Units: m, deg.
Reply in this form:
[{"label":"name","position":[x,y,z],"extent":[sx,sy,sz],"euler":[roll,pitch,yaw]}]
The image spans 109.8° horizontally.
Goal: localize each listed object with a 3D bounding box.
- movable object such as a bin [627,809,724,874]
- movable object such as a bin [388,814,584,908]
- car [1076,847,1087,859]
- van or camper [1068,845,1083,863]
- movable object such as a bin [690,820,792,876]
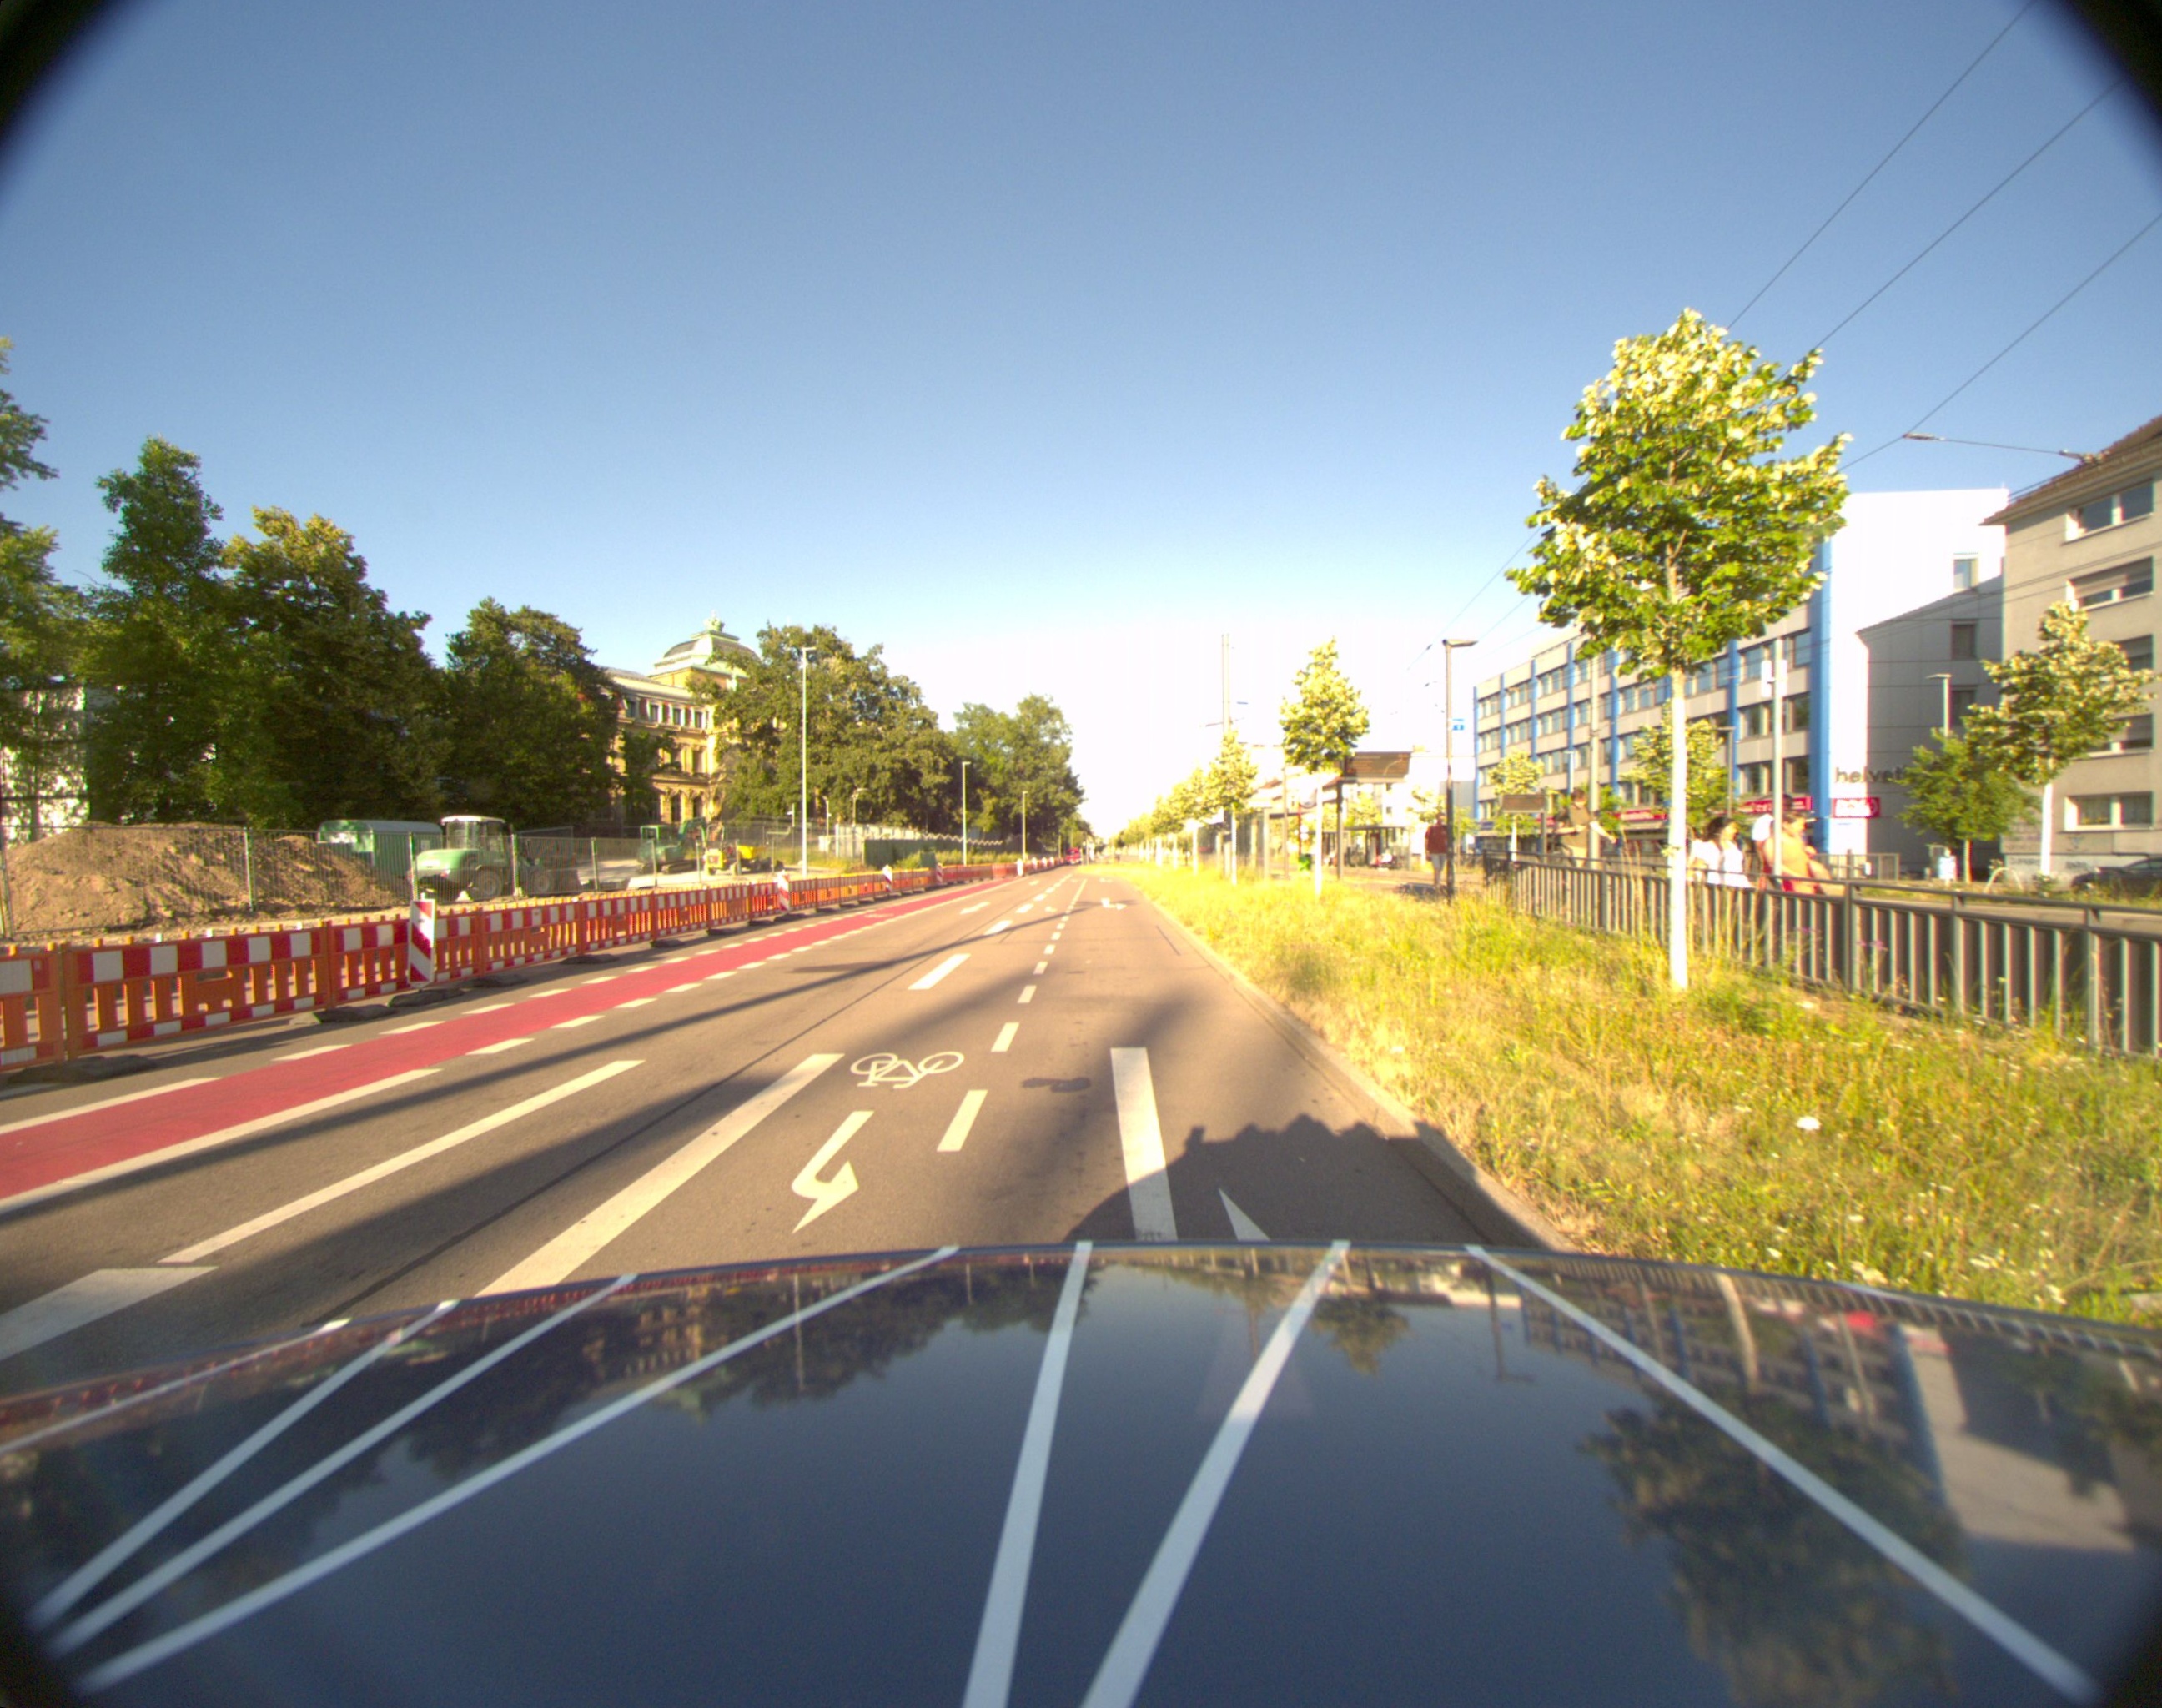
[{"label":"movable object such as a bin","position":[-22.431,-0.694,42.318],"extent":[1.998,3.310,5.376],"euler":[-2,1,5]},{"label":"movable object such as a bin","position":[-19.050,0.168,24.730],"extent":[1.998,2.668,5.015],"euler":[-2,1,5]},{"label":"car","position":[0.117,-0.166,138.139],"extent":[1.998,2.002,3.999],"euler":[-2,1,1]},{"label":"van or camper","position":[-0.747,-0.016,113.855],"extent":[1.998,2.514,5.913],"euler":[-2,1,1]},{"label":"movable object such as a bin","position":[-18.651,-0.357,42.083],"extent":[1.997,2.800,5.871],"euler":[-2,1,11]}]
